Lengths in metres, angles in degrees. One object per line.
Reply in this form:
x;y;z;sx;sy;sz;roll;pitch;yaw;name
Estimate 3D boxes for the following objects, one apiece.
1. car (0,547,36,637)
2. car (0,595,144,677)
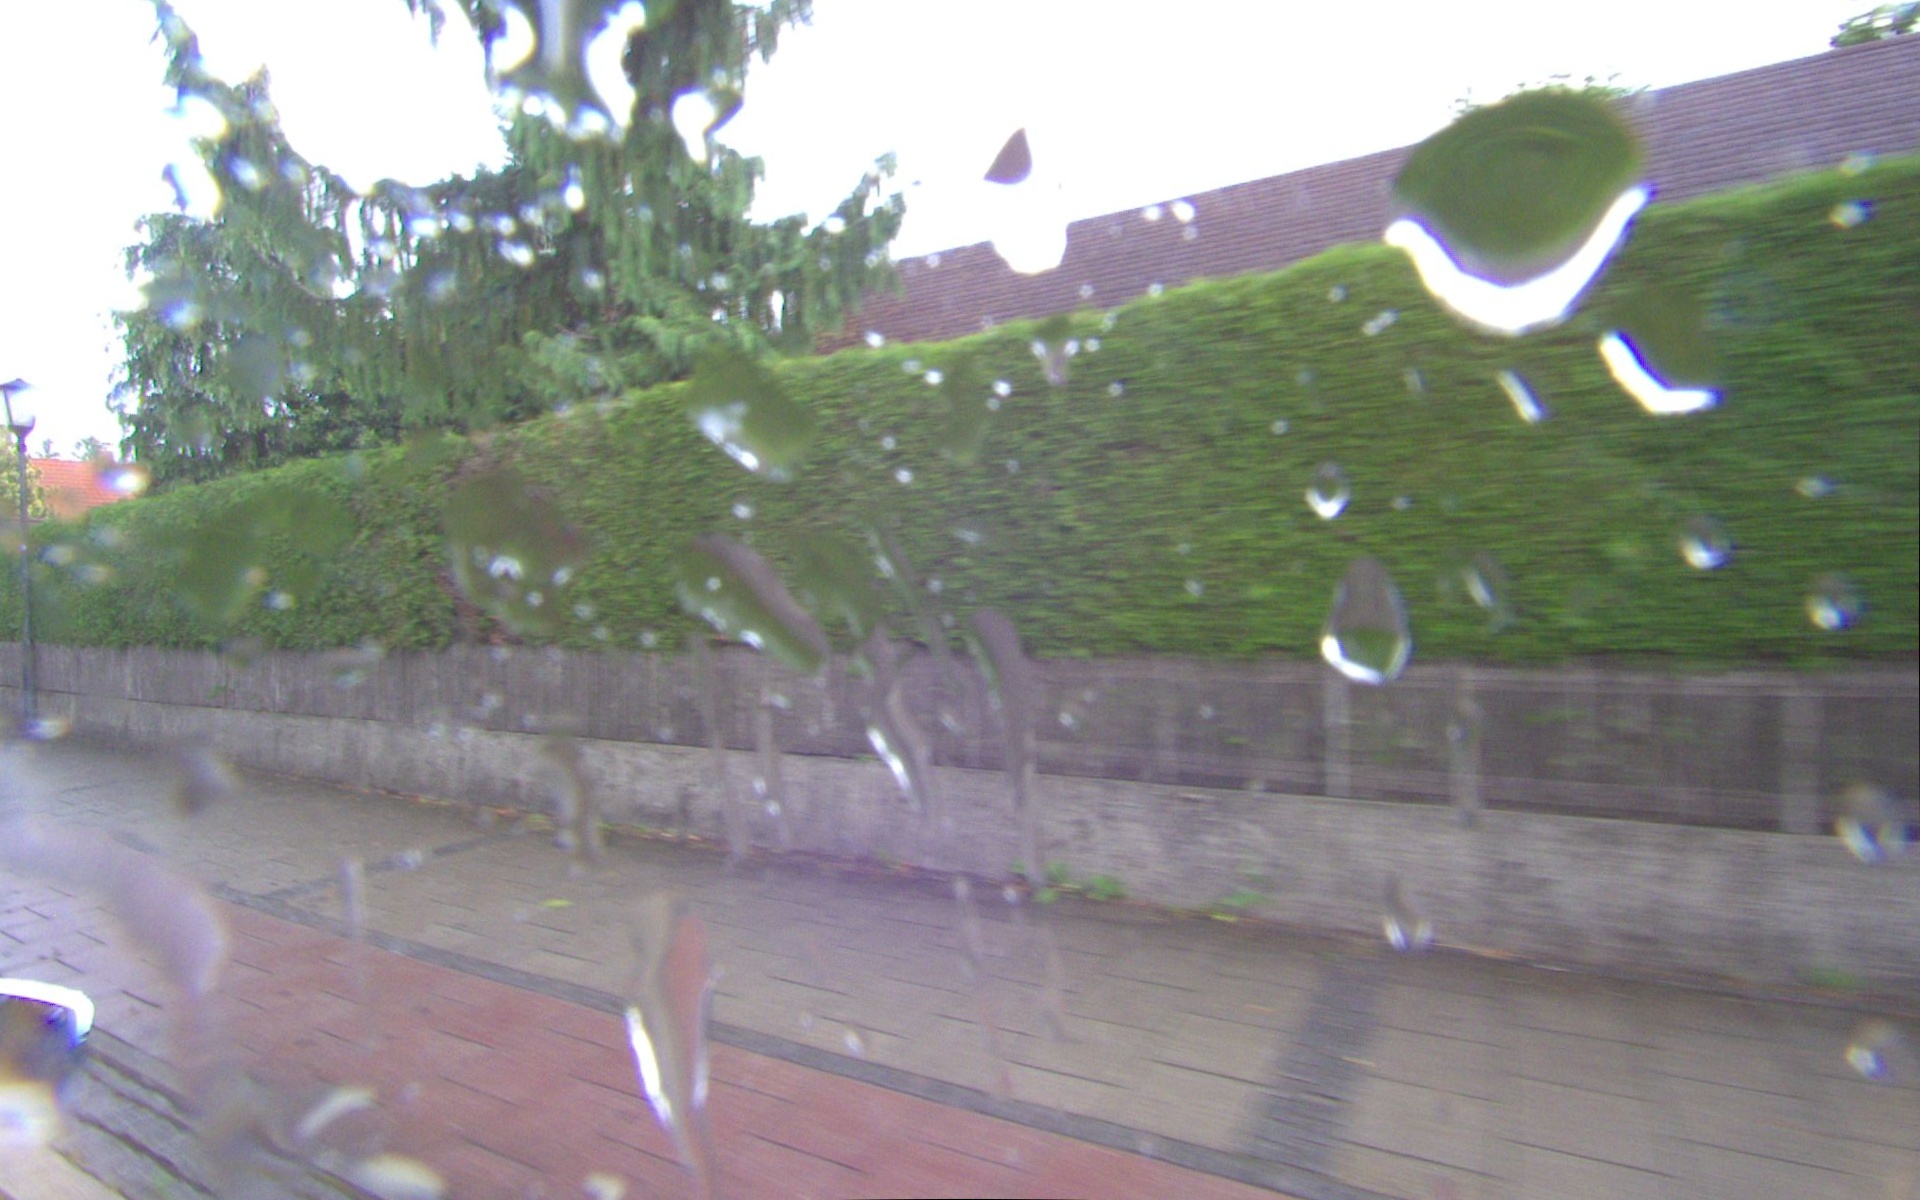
-26.126;-0.156;25.427;4.868;2.201;1.996;-1;-2;22;car
-21.659;0.796;23.075;1.669;1.776;4.085;2;2;31;car
